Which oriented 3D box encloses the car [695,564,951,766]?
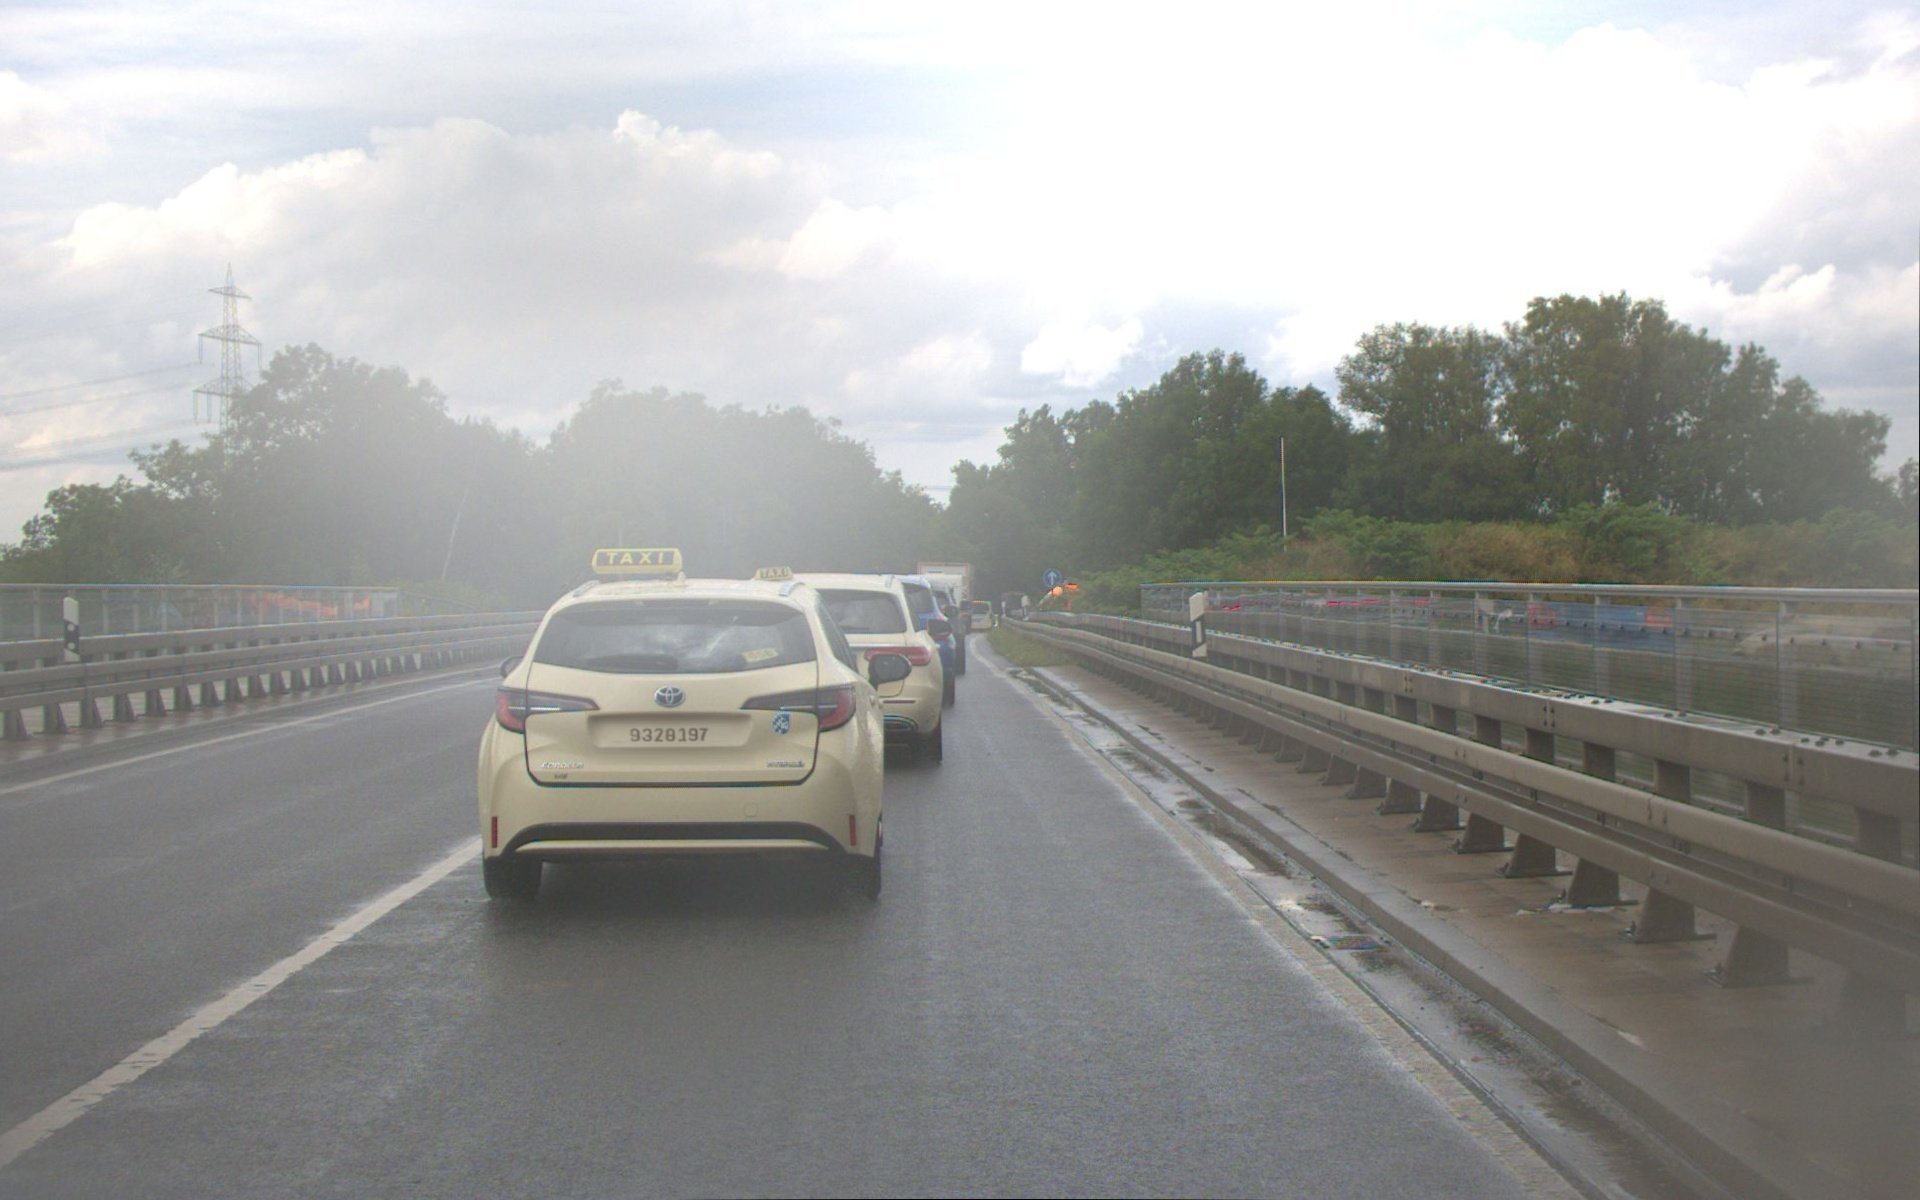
[{"bbox_3d":[-1.036,0.456,27.330,1.854,1.438,4.171,1,1,-1],"label":"car"}]

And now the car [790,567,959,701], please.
[{"bbox_3d":[-0.983,0.353,40.324,1.854,1.438,4.171,1,1,-1],"label":"car"}]

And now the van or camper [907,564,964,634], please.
[{"bbox_3d":[-1.043,-0.060,145.502,2.332,2.854,6.307,1,0,-1],"label":"van or camper"}]

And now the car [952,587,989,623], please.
[{"bbox_3d":[0.611,0.273,198.386,1.993,2.007,4.000,1,0,-1],"label":"car"}]

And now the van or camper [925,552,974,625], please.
[{"bbox_3d":[-0.546,-0.585,170.768,2.332,3.550,6.307,1,0,-1],"label":"van or camper"}]

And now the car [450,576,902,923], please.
[{"bbox_3d":[-1.218,0.610,16.426,1.854,1.389,4.171,1,1,-1],"label":"car"}]

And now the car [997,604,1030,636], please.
[{"bbox_3d":[3.636,1.373,233.299,1.993,2.007,4.000,3,-2,-1],"label":"car"}]
